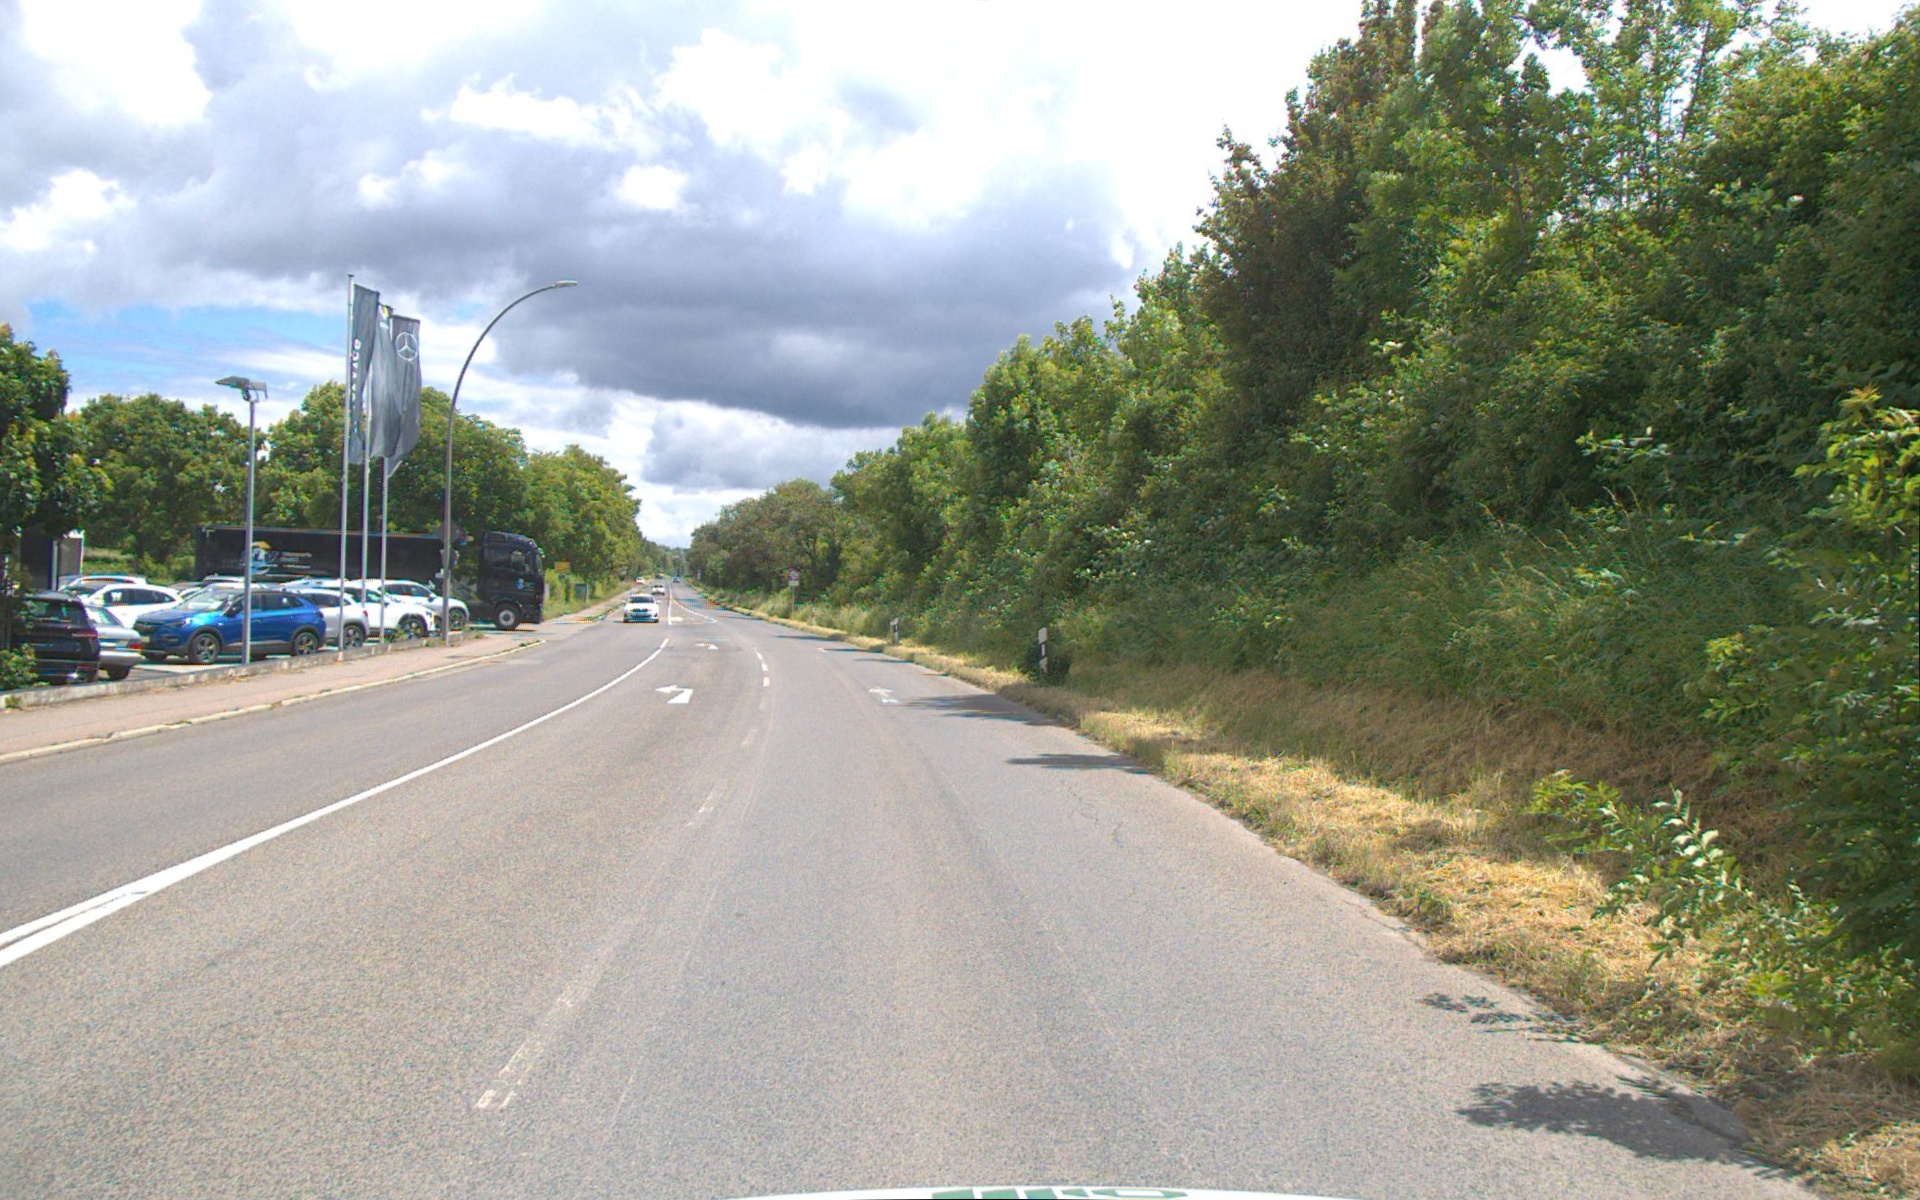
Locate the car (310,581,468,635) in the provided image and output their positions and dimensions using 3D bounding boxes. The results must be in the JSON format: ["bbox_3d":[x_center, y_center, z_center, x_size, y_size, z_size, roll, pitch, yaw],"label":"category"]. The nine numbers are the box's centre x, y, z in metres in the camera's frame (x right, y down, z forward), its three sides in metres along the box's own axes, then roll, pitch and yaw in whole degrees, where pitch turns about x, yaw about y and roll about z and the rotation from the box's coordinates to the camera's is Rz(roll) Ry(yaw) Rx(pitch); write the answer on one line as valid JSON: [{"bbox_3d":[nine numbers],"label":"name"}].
[{"bbox_3d":[-17.653,0.255,51.234,4.284,1.491,1.773,2,2,-38],"label":"car"}]

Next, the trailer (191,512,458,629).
[{"bbox_3d":[-24.388,-1.045,63.563,9.320,4.154,3.292,1,0,-26],"label":"trailer"}]

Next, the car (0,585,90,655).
[{"bbox_3d":[-23.843,0.469,40.714,1.764,1.653,3.948,2,1,29],"label":"car"}]

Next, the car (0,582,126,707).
[{"bbox_3d":[-14.397,0.631,25.859,1.783,1.653,4.301,5,-1,-34],"label":"car"}]

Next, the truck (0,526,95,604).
[{"bbox_3d":[-39.224,-1.419,66.860,2.599,3.102,8.598,1,0,12],"label":"truck"}]

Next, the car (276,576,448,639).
[{"bbox_3d":[-17.223,0.233,47.713,4.260,1.707,1.909,2,0,-41],"label":"car"}]

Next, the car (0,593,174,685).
[{"bbox_3d":[-17.011,0.709,31.751,4.517,1.414,1.793,4,-1,42],"label":"car"}]

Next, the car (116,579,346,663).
[{"bbox_3d":[-16.379,0.469,37.424,1.852,1.698,4.565,3,0,27],"label":"car"}]

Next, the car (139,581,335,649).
[{"bbox_3d":[-18.776,0.363,43.178,1.832,1.593,4.515,3,1,27],"label":"car"}]

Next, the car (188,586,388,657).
[{"bbox_3d":[-16.724,0.503,41.425,1.832,1.593,4.515,3,1,27],"label":"car"}]

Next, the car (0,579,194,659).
[{"bbox_3d":[-19.529,0.384,37.323,1.761,1.653,3.955,2,1,20],"label":"car"}]

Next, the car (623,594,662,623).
[{"bbox_3d":[-16.629,0.418,86.480,1.958,1.476,4.414,0,0,-12],"label":"car"}]

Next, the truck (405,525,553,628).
[{"bbox_3d":[-19.037,-0.879,65.726,5.462,3.890,2.972,1,0,-15],"label":"truck"}]

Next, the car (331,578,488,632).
[{"bbox_3d":[-18.324,0.196,55.265,1.948,1.633,4.727,2,0,34],"label":"car"}]

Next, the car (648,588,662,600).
[{"bbox_3d":[-38.122,-0.804,206.587,1.630,1.457,3.686,0,1,-8],"label":"car"}]
